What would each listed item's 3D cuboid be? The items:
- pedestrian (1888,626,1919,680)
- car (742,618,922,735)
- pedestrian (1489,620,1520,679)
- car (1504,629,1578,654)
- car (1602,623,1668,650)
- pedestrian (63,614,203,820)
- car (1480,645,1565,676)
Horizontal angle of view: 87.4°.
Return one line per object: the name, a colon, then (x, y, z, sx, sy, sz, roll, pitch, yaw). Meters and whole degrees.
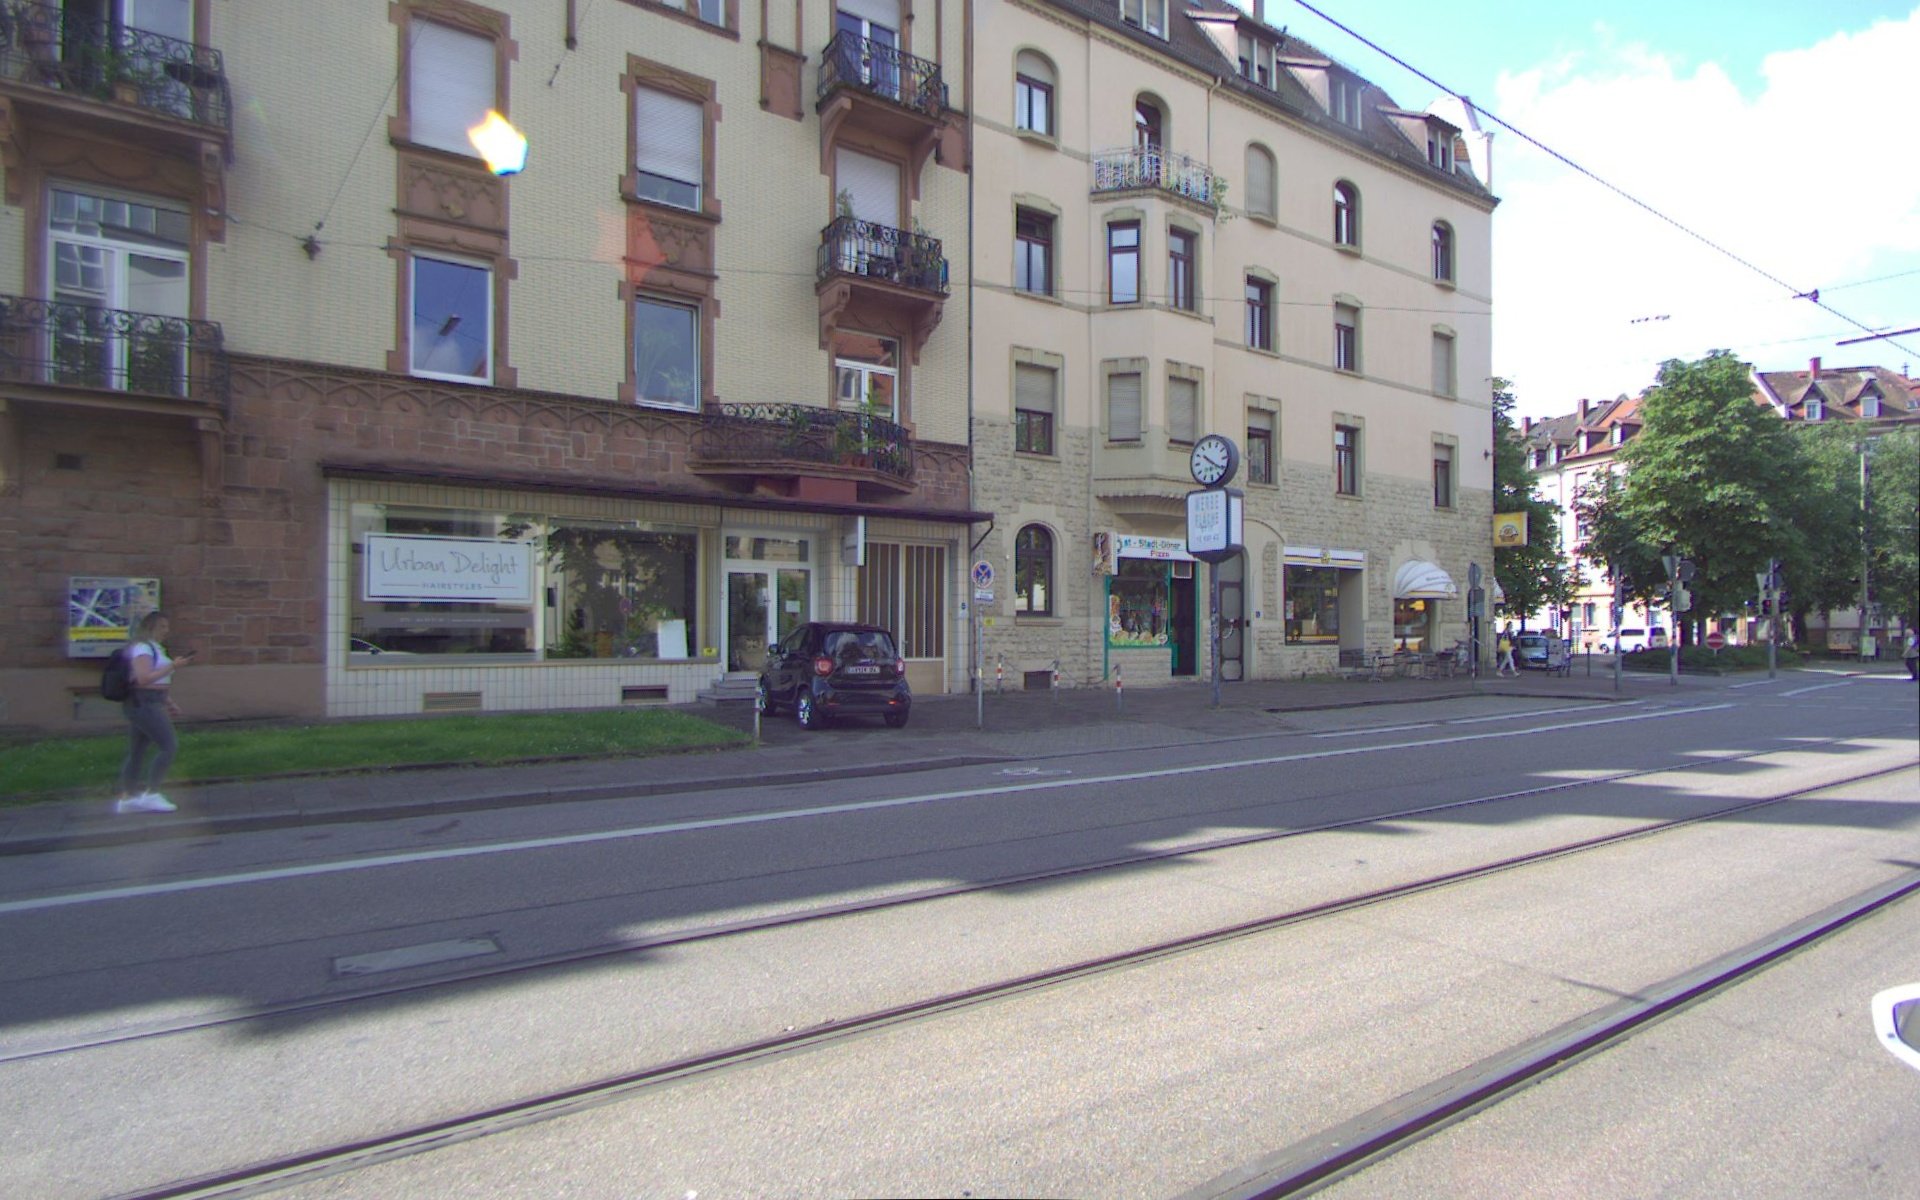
pedestrian: (31.309, 1.737, 33.134, 0.705, 1.728, 0.824, 0, -1, 15)
car: (-2.103, 1.114, 15.821, 1.716, 1.505, 3.162, 1, 1, -30)
pedestrian: (16.914, 1.528, 31.185, 0.675, 1.777, 0.797, -1, -2, 43)
car: (39.729, 2.831, 68.785, 1.976, 1.617, 3.970, 1, -2, -29)
car: (50.097, 2.686, 74.620, 1.962, 1.929, 3.997, 0, -2, -5)
pedestrian: (-6.686, 0.906, 8.169, 0.756, 1.561, 0.752, 1, -2, -32)
car: (24.422, 2.596, 43.760, 1.645, 1.198, 4.002, 0, -2, 4)
